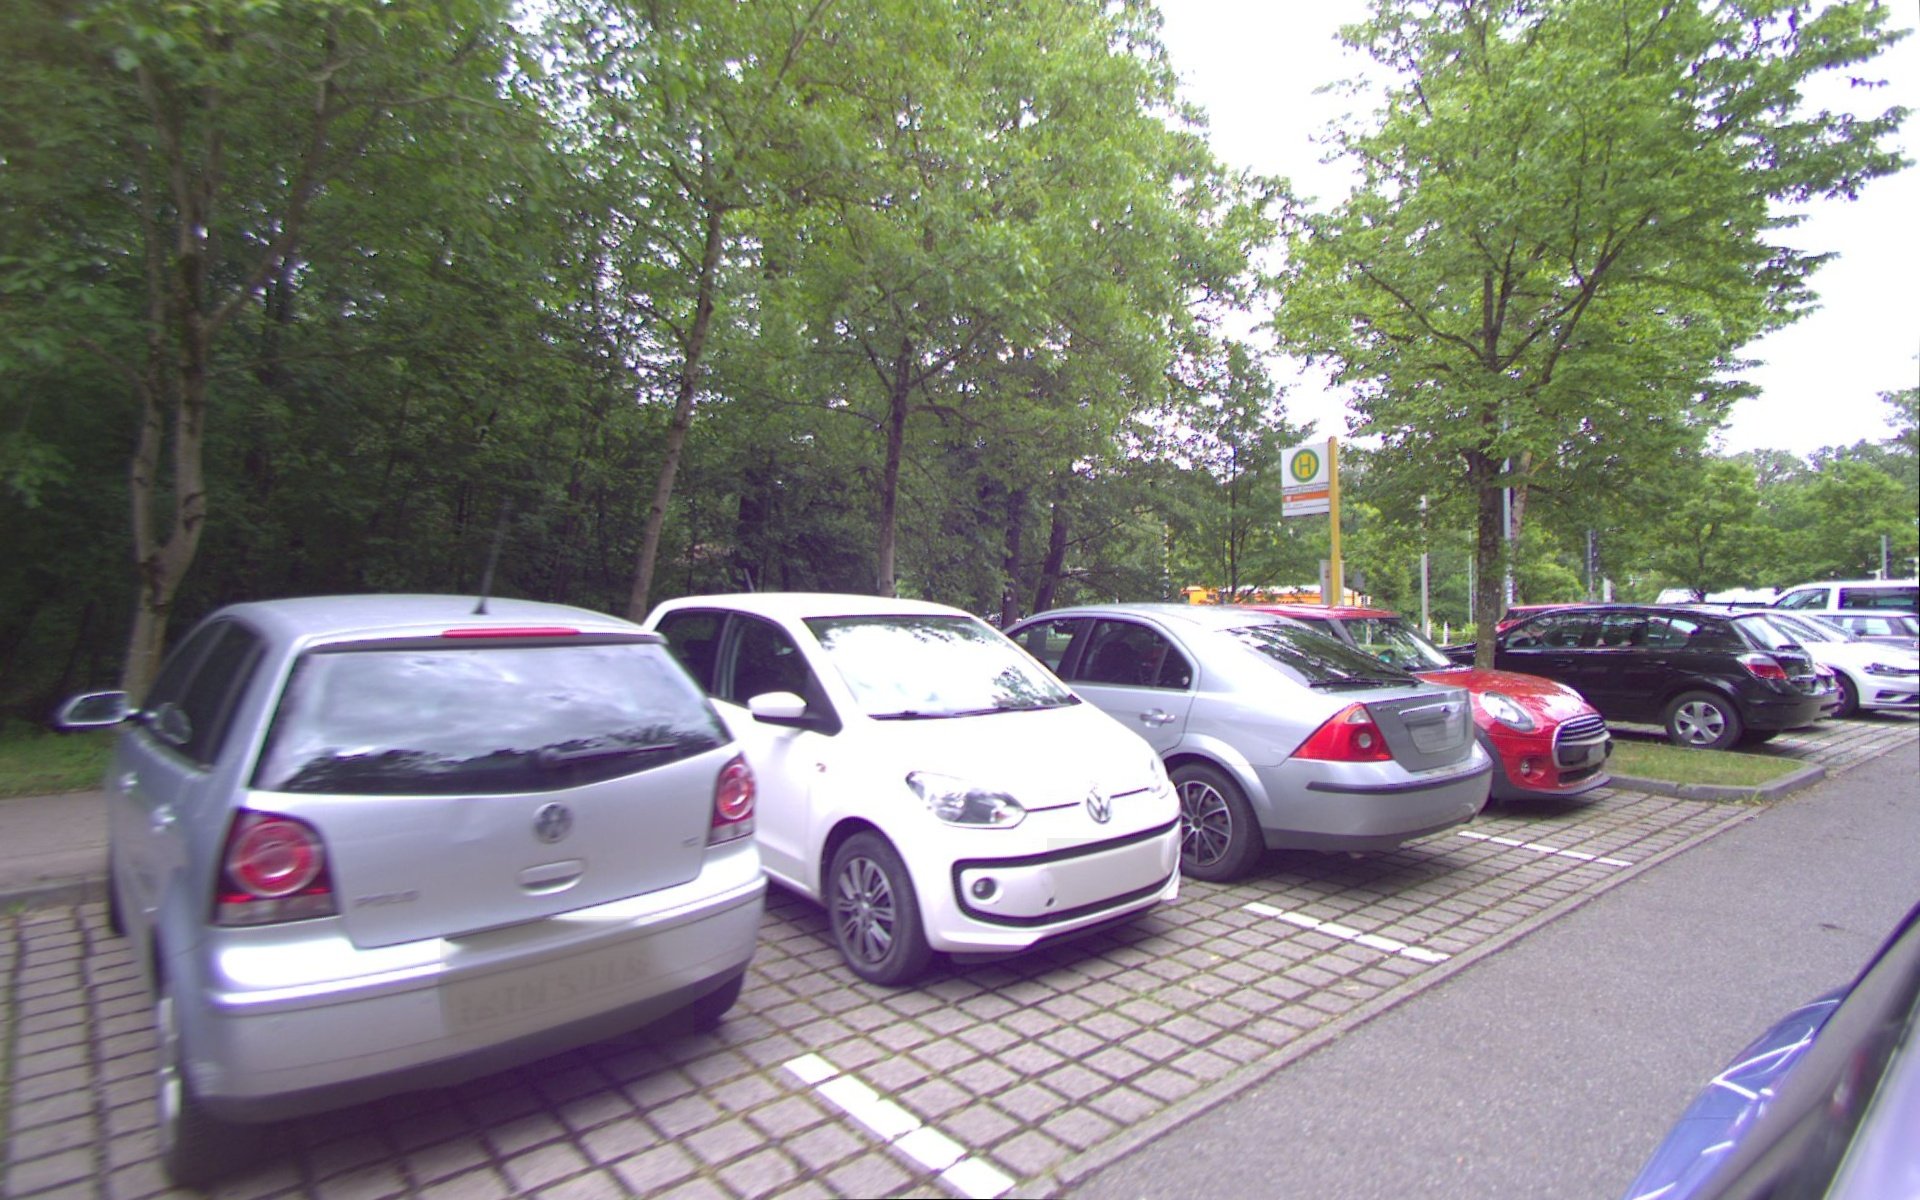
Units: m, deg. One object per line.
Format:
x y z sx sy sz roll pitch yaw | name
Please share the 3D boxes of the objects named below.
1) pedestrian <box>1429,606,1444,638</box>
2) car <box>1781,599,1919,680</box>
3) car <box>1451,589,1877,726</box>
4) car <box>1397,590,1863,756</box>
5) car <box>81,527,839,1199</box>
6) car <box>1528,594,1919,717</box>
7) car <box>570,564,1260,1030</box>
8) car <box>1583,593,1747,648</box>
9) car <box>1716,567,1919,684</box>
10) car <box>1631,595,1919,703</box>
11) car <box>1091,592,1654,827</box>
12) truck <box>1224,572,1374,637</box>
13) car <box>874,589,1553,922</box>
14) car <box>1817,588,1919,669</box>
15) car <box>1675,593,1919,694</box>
34.843 1.627 74.002 0.850 2.325 0.613 0 -3 17 | pedestrian
19.394 0.783 20.379 1.907 1.575 4.015 1 -2 -27 | car
9.020 0.618 13.318 1.883 1.499 4.240 0 0 -37 | car
7.305 0.655 11.398 1.886 1.502 3.998 0 0 -36 | car
-2.300 0.622 4.026 1.701 1.565 3.847 0 0 -43 | car
11.220 0.684 14.795 1.817 1.494 4.789 1 0 -34 | car
-0.526 0.626 5.303 1.720 1.530 3.708 0 1 -40 | car
24.419 0.726 35.217 4.548 1.773 1.974 -1 -3 35 | car
17.277 0.500 18.856 2.042 2.048 4.664 2 -3 -33 | car
13.236 0.715 15.950 1.842 1.502 3.999 -1 -1 -35 | car
3.237 0.676 8.543 1.907 1.468 3.994 0 0 -41 | car
19.951 0.253 60.105 2.816 3.559 8.240 2 -1 -38 | truck
1.336 0.669 6.723 1.831 1.480 4.136 0 1 -39 | car
21.526 0.611 21.560 2.121 1.714 4.541 0 0 -28 | car
14.958 0.755 17.601 1.811 1.575 3.733 3 -3 -35 | car
